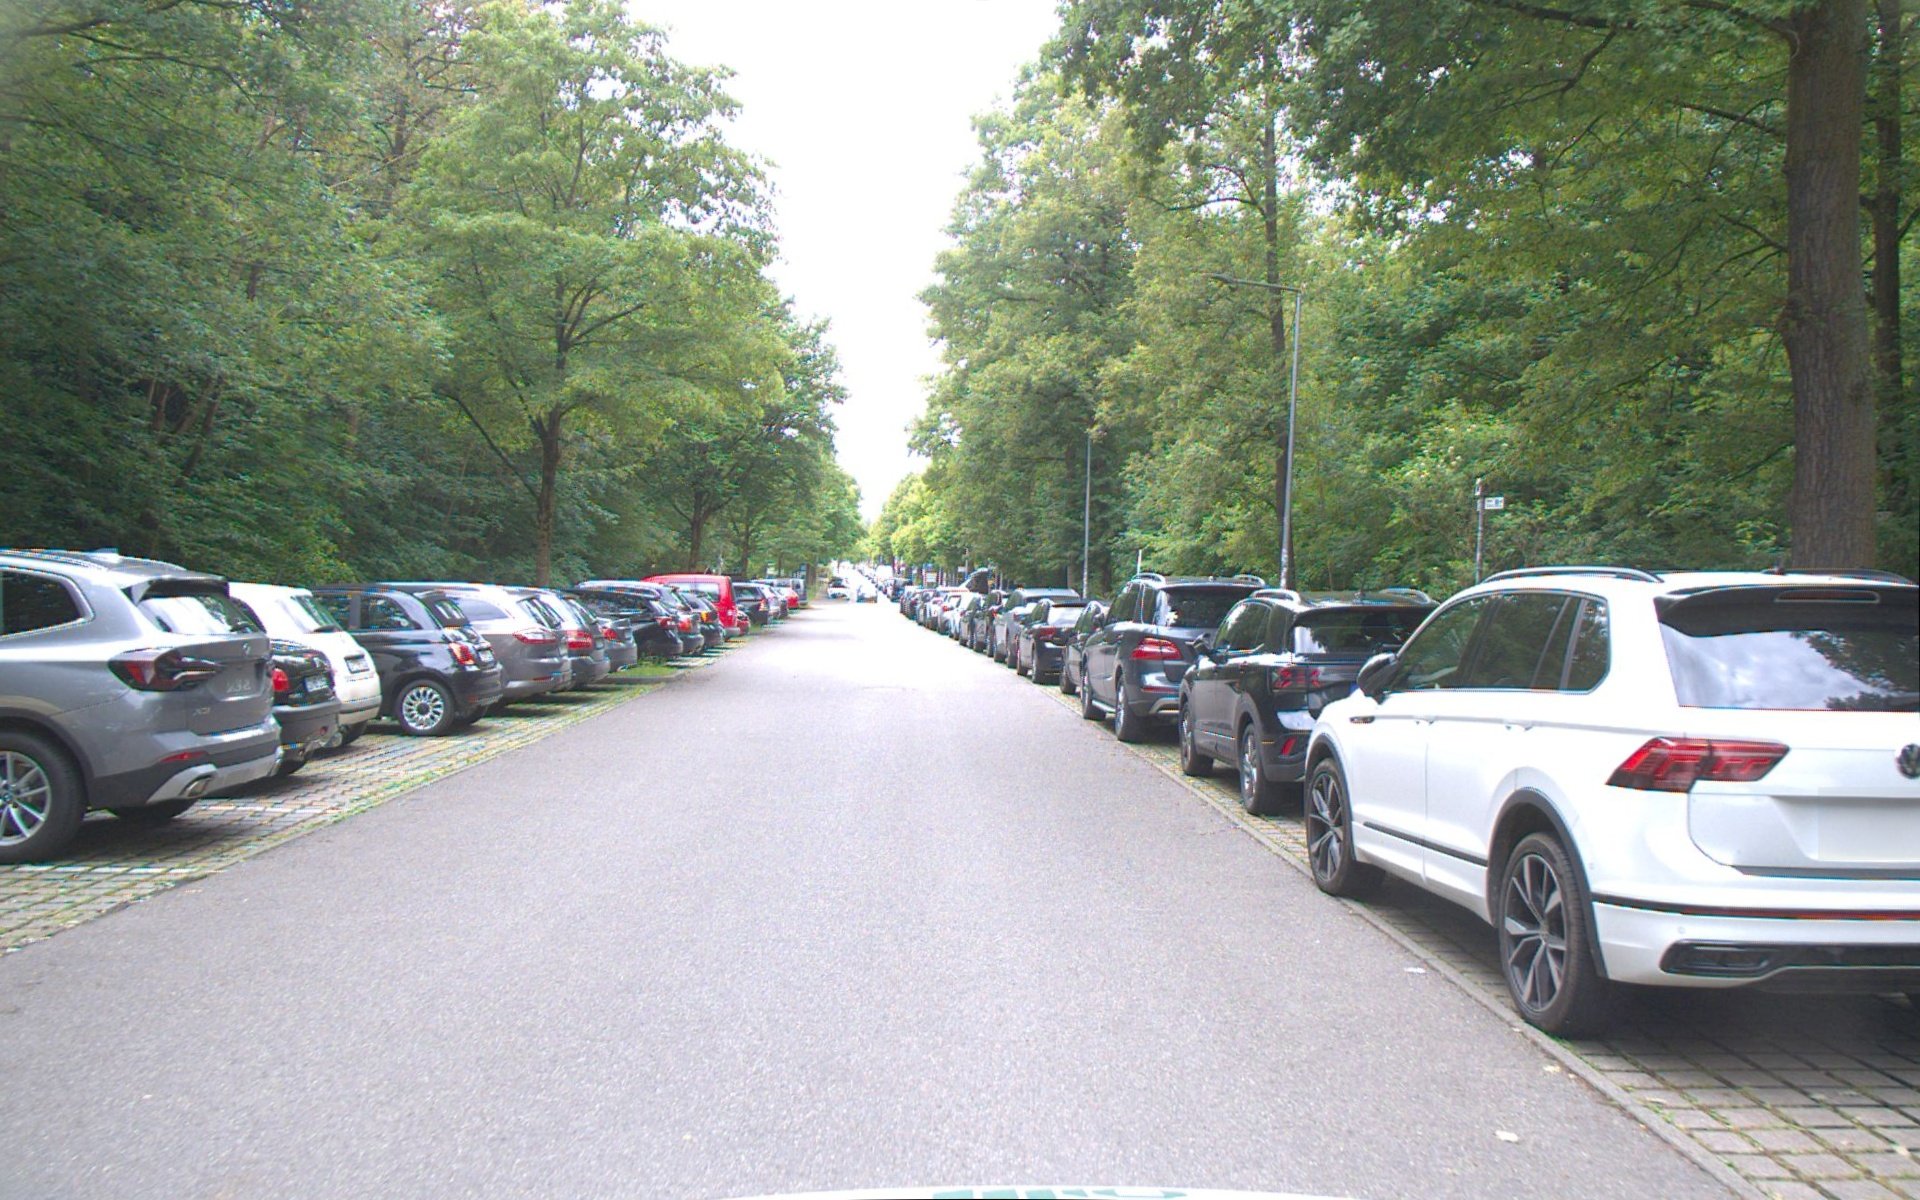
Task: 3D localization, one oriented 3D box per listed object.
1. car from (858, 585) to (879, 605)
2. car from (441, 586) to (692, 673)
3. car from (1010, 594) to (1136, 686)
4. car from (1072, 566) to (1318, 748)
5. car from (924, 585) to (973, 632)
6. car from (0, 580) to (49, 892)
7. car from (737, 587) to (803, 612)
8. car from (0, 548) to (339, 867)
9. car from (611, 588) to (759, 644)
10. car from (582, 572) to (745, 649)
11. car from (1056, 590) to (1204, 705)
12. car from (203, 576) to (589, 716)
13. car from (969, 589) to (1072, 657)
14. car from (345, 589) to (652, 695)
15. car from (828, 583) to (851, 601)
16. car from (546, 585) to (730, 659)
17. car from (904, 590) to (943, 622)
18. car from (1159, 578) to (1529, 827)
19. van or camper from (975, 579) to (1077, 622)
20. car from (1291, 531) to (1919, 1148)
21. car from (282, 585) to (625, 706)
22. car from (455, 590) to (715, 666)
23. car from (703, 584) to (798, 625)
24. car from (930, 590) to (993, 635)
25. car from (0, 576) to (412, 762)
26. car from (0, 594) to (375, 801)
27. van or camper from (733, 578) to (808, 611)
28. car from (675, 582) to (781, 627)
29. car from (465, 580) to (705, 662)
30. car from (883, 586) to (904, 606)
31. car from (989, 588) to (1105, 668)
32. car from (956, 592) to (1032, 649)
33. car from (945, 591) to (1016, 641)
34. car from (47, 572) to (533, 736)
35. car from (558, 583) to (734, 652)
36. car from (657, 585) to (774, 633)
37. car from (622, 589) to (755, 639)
[{"bbox_3d":[-7.361,-0.408,133.041,1.657,1.440,3.152,2,3,-4],"label":"car"},{"bbox_3d":[-7.004,0.515,29.796,4.215,1.474,1.754,1,0,-8],"label":"car"},{"bbox_3d":[1.948,0.661,29.607,1.605,1.503,4.147,1,0,-5],"label":"car"},{"bbox_3d":[2.522,0.554,19.007,1.852,1.777,4.945,1,0,-3],"label":"car"},{"bbox_3d":[-0.473,0.318,64.664,1.676,1.758,3.998,1,0,-3],"label":"car"},{"bbox_3d":[-6.545,0.613,7.360,3.941,1.490,1.799,1,0,0],"label":"car"},{"bbox_3d":[-10.875,-0.023,94.429,3.518,1.385,1.821,1,0,-16],"label":"car"},{"bbox_3d":[-6.120,0.524,9.711,4.139,1.661,2.028,2,0,-2],"label":"car"},{"bbox_3d":[-7.786,0.435,47.124,3.907,1.500,2.114,1,0,-3],"label":"car"},{"bbox_3d":[-7.524,0.263,42.285,3.910,1.848,2.112,1,0,-6],"label":"car"},{"bbox_3d":[2.438,0.640,24.587,1.567,1.530,4.088,1,0,-3],"label":"car"},{"bbox_3d":[-6.642,0.533,19.871,4.010,1.550,1.927,1,0,-6],"label":"car"},{"bbox_3d":[1.450,0.534,41.081,1.940,1.564,4.161,1,0,-6],"label":"car"},{"bbox_3d":[-6.795,0.598,24.696,4.026,1.456,1.963,1,0,-1],"label":"car"},{"bbox_3d":[-9.930,-0.669,136.089,1.704,1.182,3.411,2,3,-2],"label":"car"},{"bbox_3d":[-7.194,0.486,37.307,3.912,1.557,1.997,1,0,-8],"label":"car"},{"bbox_3d":[-1.866,0.291,84.105,1.882,1.547,3.885,1,0,-2],"label":"car"},{"bbox_3d":[2.843,0.672,13.290,1.716,1.635,4.444,1,0,-3],"label":"car"},{"bbox_3d":[5.001,0.003,125.249,7.210,2.938,2.637,1,3,-18],"label":"van or camper"},{"bbox_3d":[2.893,0.657,6.952,1.750,1.691,4.714,1,0,-4],"label":"car"},{"bbox_3d":[-6.692,0.585,22.244,4.028,1.506,1.995,1,0,-4],"label":"car"},{"bbox_3d":[-7.199,0.532,32.138,4.638,1.367,1.985,1,0,-5],"label":"car"},{"bbox_3d":[-9.040,0.199,71.590,3.907,1.669,2.008,1,0,-3],"label":"car"},{"bbox_3d":[0.025,0.417,58.923,1.689,1.520,3.767,1,0,-8],"label":"car"},{"bbox_3d":[-7.064,0.580,14.773,3.789,1.476,1.659,2,1,-5],"label":"car"},{"bbox_3d":[-6.584,0.657,12.190,3.901,1.333,1.809,2,1,-5],"label":"car"},{"bbox_3d":[-12.045,-0.371,105.027,4.404,1.900,1.911,1,3,-18],"label":"van or camper"},{"bbox_3d":[-8.979,0.182,64.342,3.907,1.669,1.734,1,0,-3],"label":"car"},{"bbox_3d":[-7.807,0.430,34.810,4.638,1.623,1.958,1,0,-5],"label":"car"},{"bbox_3d":[-5.605,-0.342,138.810,1.596,1.440,3.409,2,3,-4],"label":"car"},{"bbox_3d":[1.787,0.545,35.457,1.939,1.564,4.618,1,0,-4],"label":"car"},{"bbox_3d":[0.903,0.534,46.120,1.634,1.470,3.809,1,0,-6],"label":"car"},{"bbox_3d":[0.617,0.480,53.069,1.899,1.501,3.988,1,0,-5],"label":"car"},{"bbox_3d":[-6.896,0.533,17.388,4.311,1.514,1.837,2,0,-1],"label":"car"},{"bbox_3d":[-7.491,0.413,39.738,3.908,1.557,1.998,1,0,-4],"label":"car"},{"bbox_3d":[-8.394,0.305,57.036,3.756,1.563,1.870,1,0,-3],"label":"car"},{"bbox_3d":[-8.532,0.436,52.182,3.907,1.500,1.846,1,0,-3],"label":"car"}]
